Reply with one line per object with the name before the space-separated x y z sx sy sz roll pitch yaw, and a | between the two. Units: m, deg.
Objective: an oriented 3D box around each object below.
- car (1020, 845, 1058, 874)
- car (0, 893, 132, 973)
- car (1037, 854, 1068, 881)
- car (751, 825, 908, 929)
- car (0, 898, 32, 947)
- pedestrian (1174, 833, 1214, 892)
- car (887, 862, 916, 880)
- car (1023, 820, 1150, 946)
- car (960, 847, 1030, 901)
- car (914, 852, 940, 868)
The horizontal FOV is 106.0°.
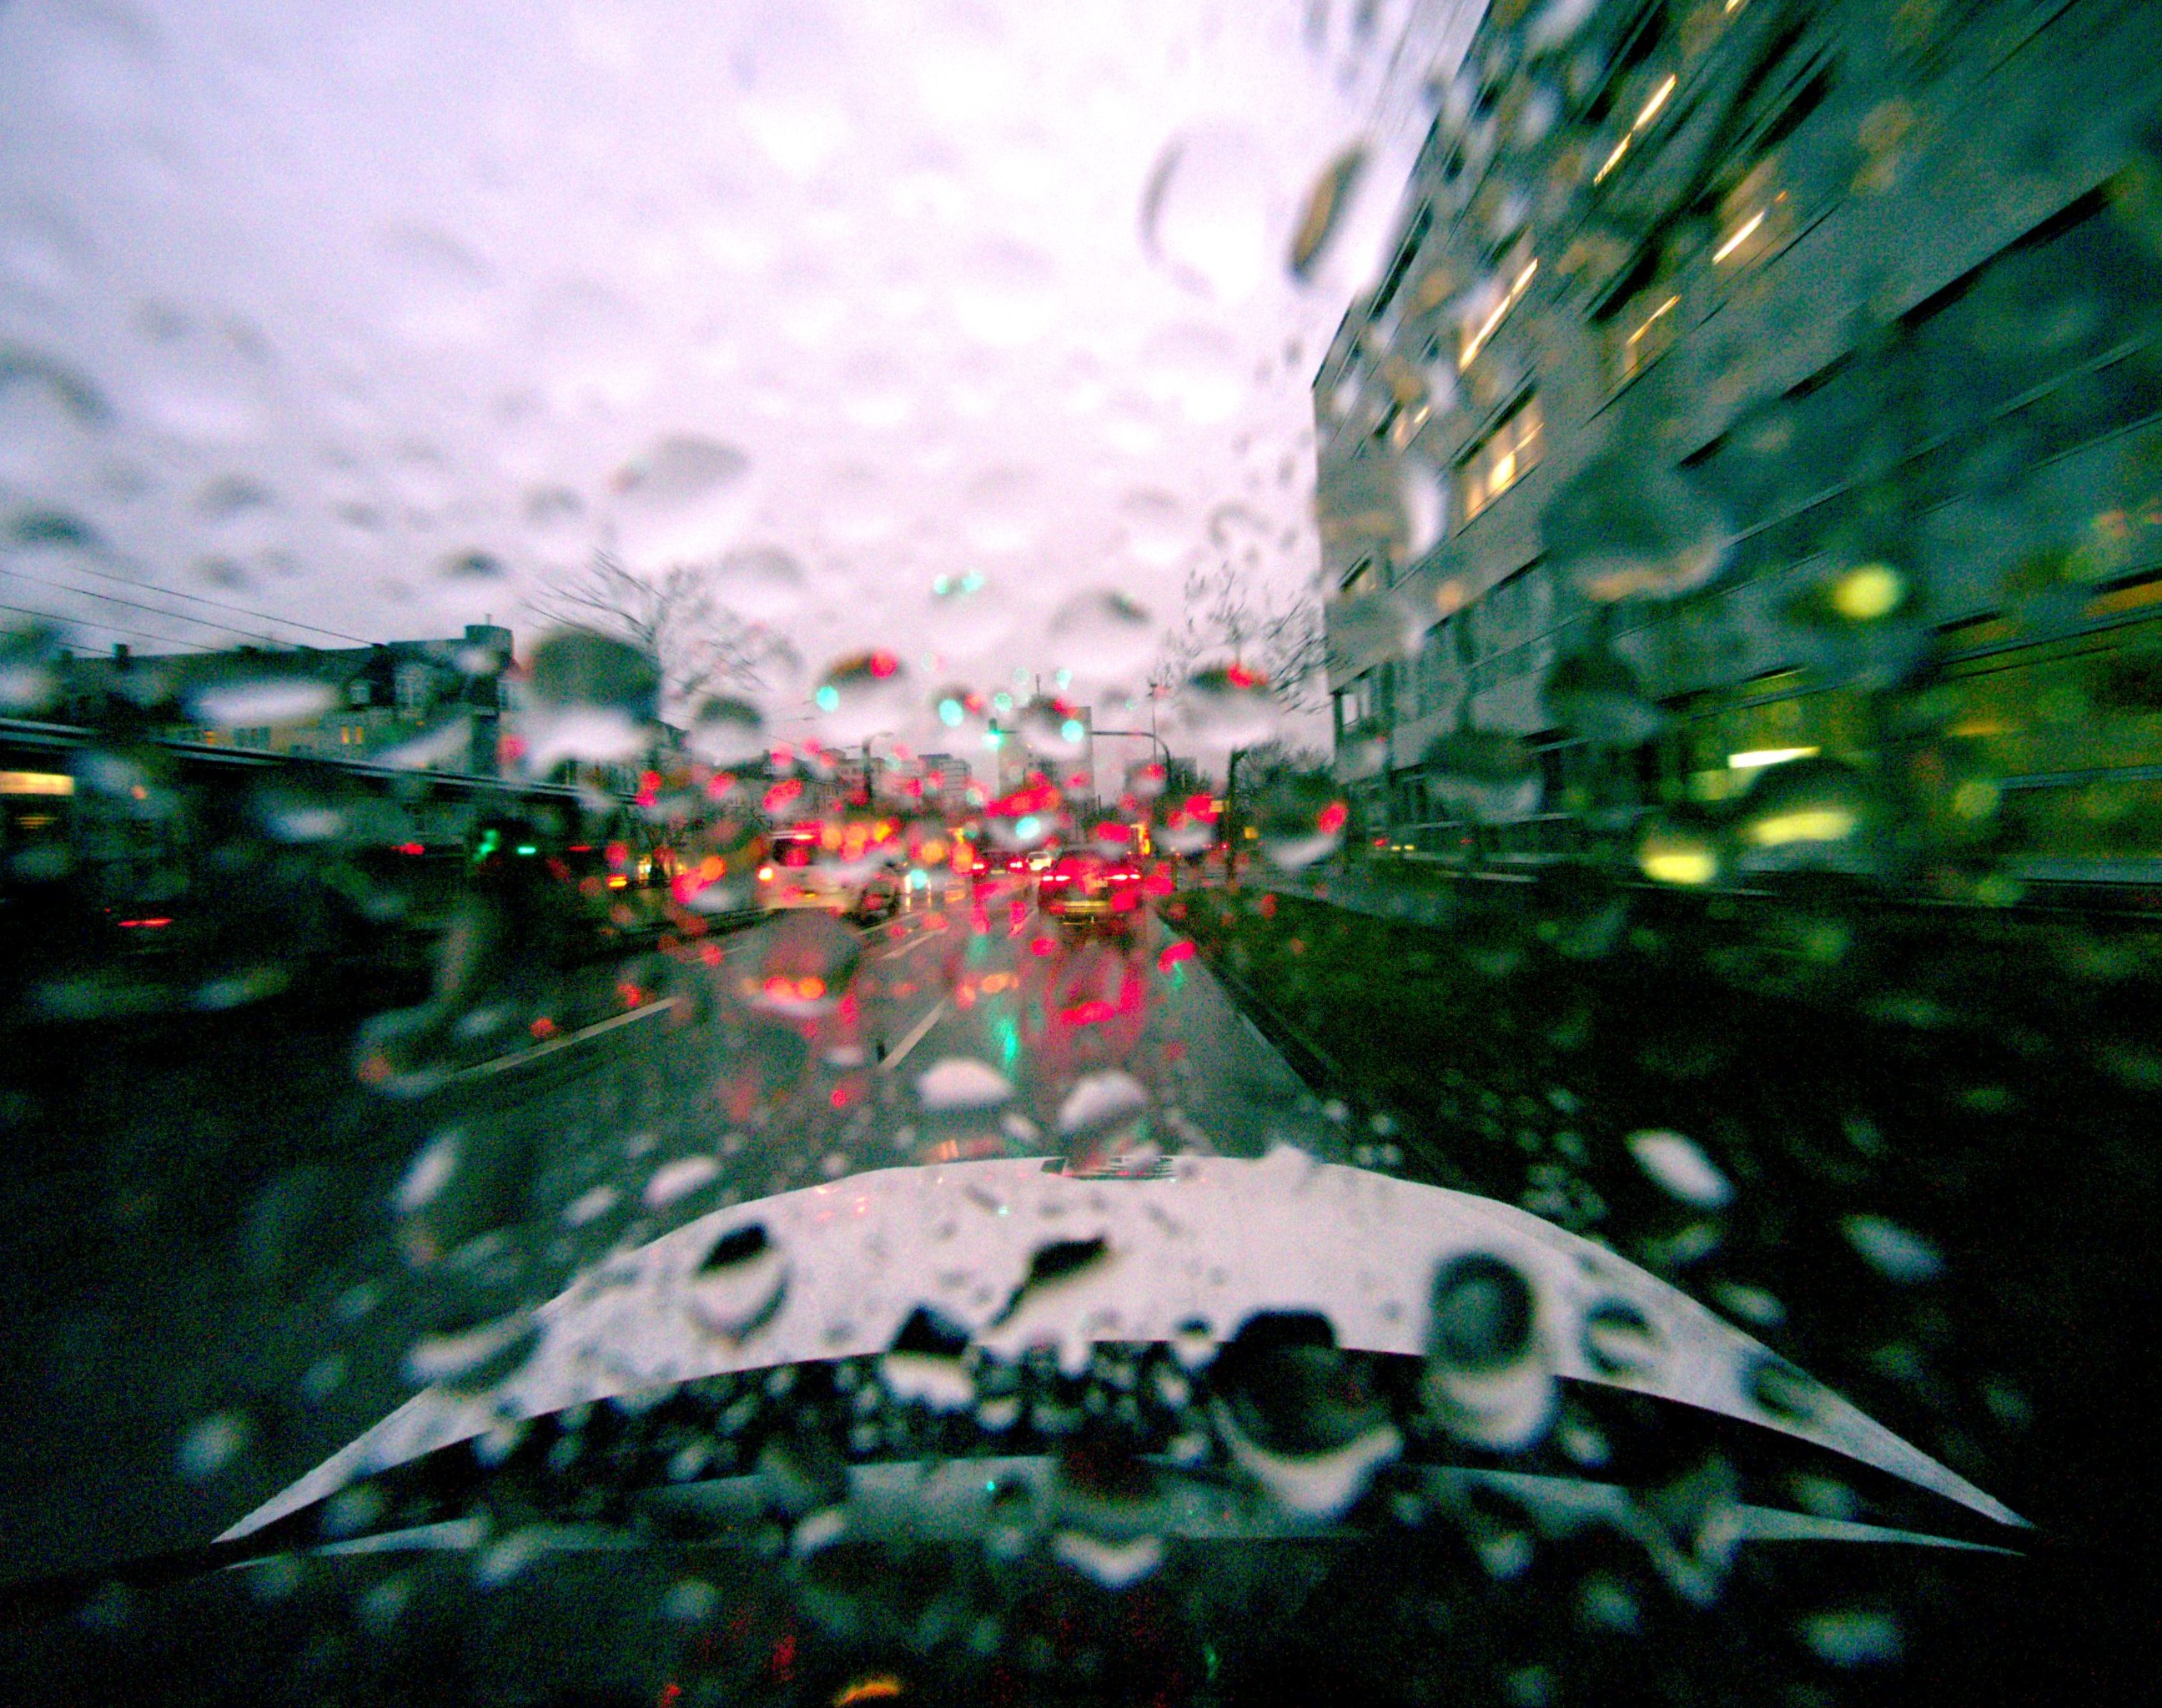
car | -2.553 0.358 50.222 1.986 1.642 4.023 -1 -1 1
car | -22.270 1.625 16.412 1.751 1.497 3.763 -2 -1 4
car | -2.225 1.084 64.923 1.985 2.014 4.004 -2 -1 3
car | -5.589 0.453 18.880 1.945 2.033 4.884 -2 0 1
car | -32.765 2.026 23.004 3.791 1.366 1.696 -1 -1 -4
pedestrian | 3.542 0.260 25.542 0.788 1.750 0.867 -7 0 28
car | -16.372 1.541 74.387 1.799 1.606 3.999 -1 -1 -1
car | 0.091 0.492 15.148 1.987 1.976 4.067 -1 -1 0
car | -2.964 0.678 29.009 1.987 1.712 4.324 -1 -1 0
car | -15.206 0.634 80.794 1.582 1.529 4.933 -1 -1 0
